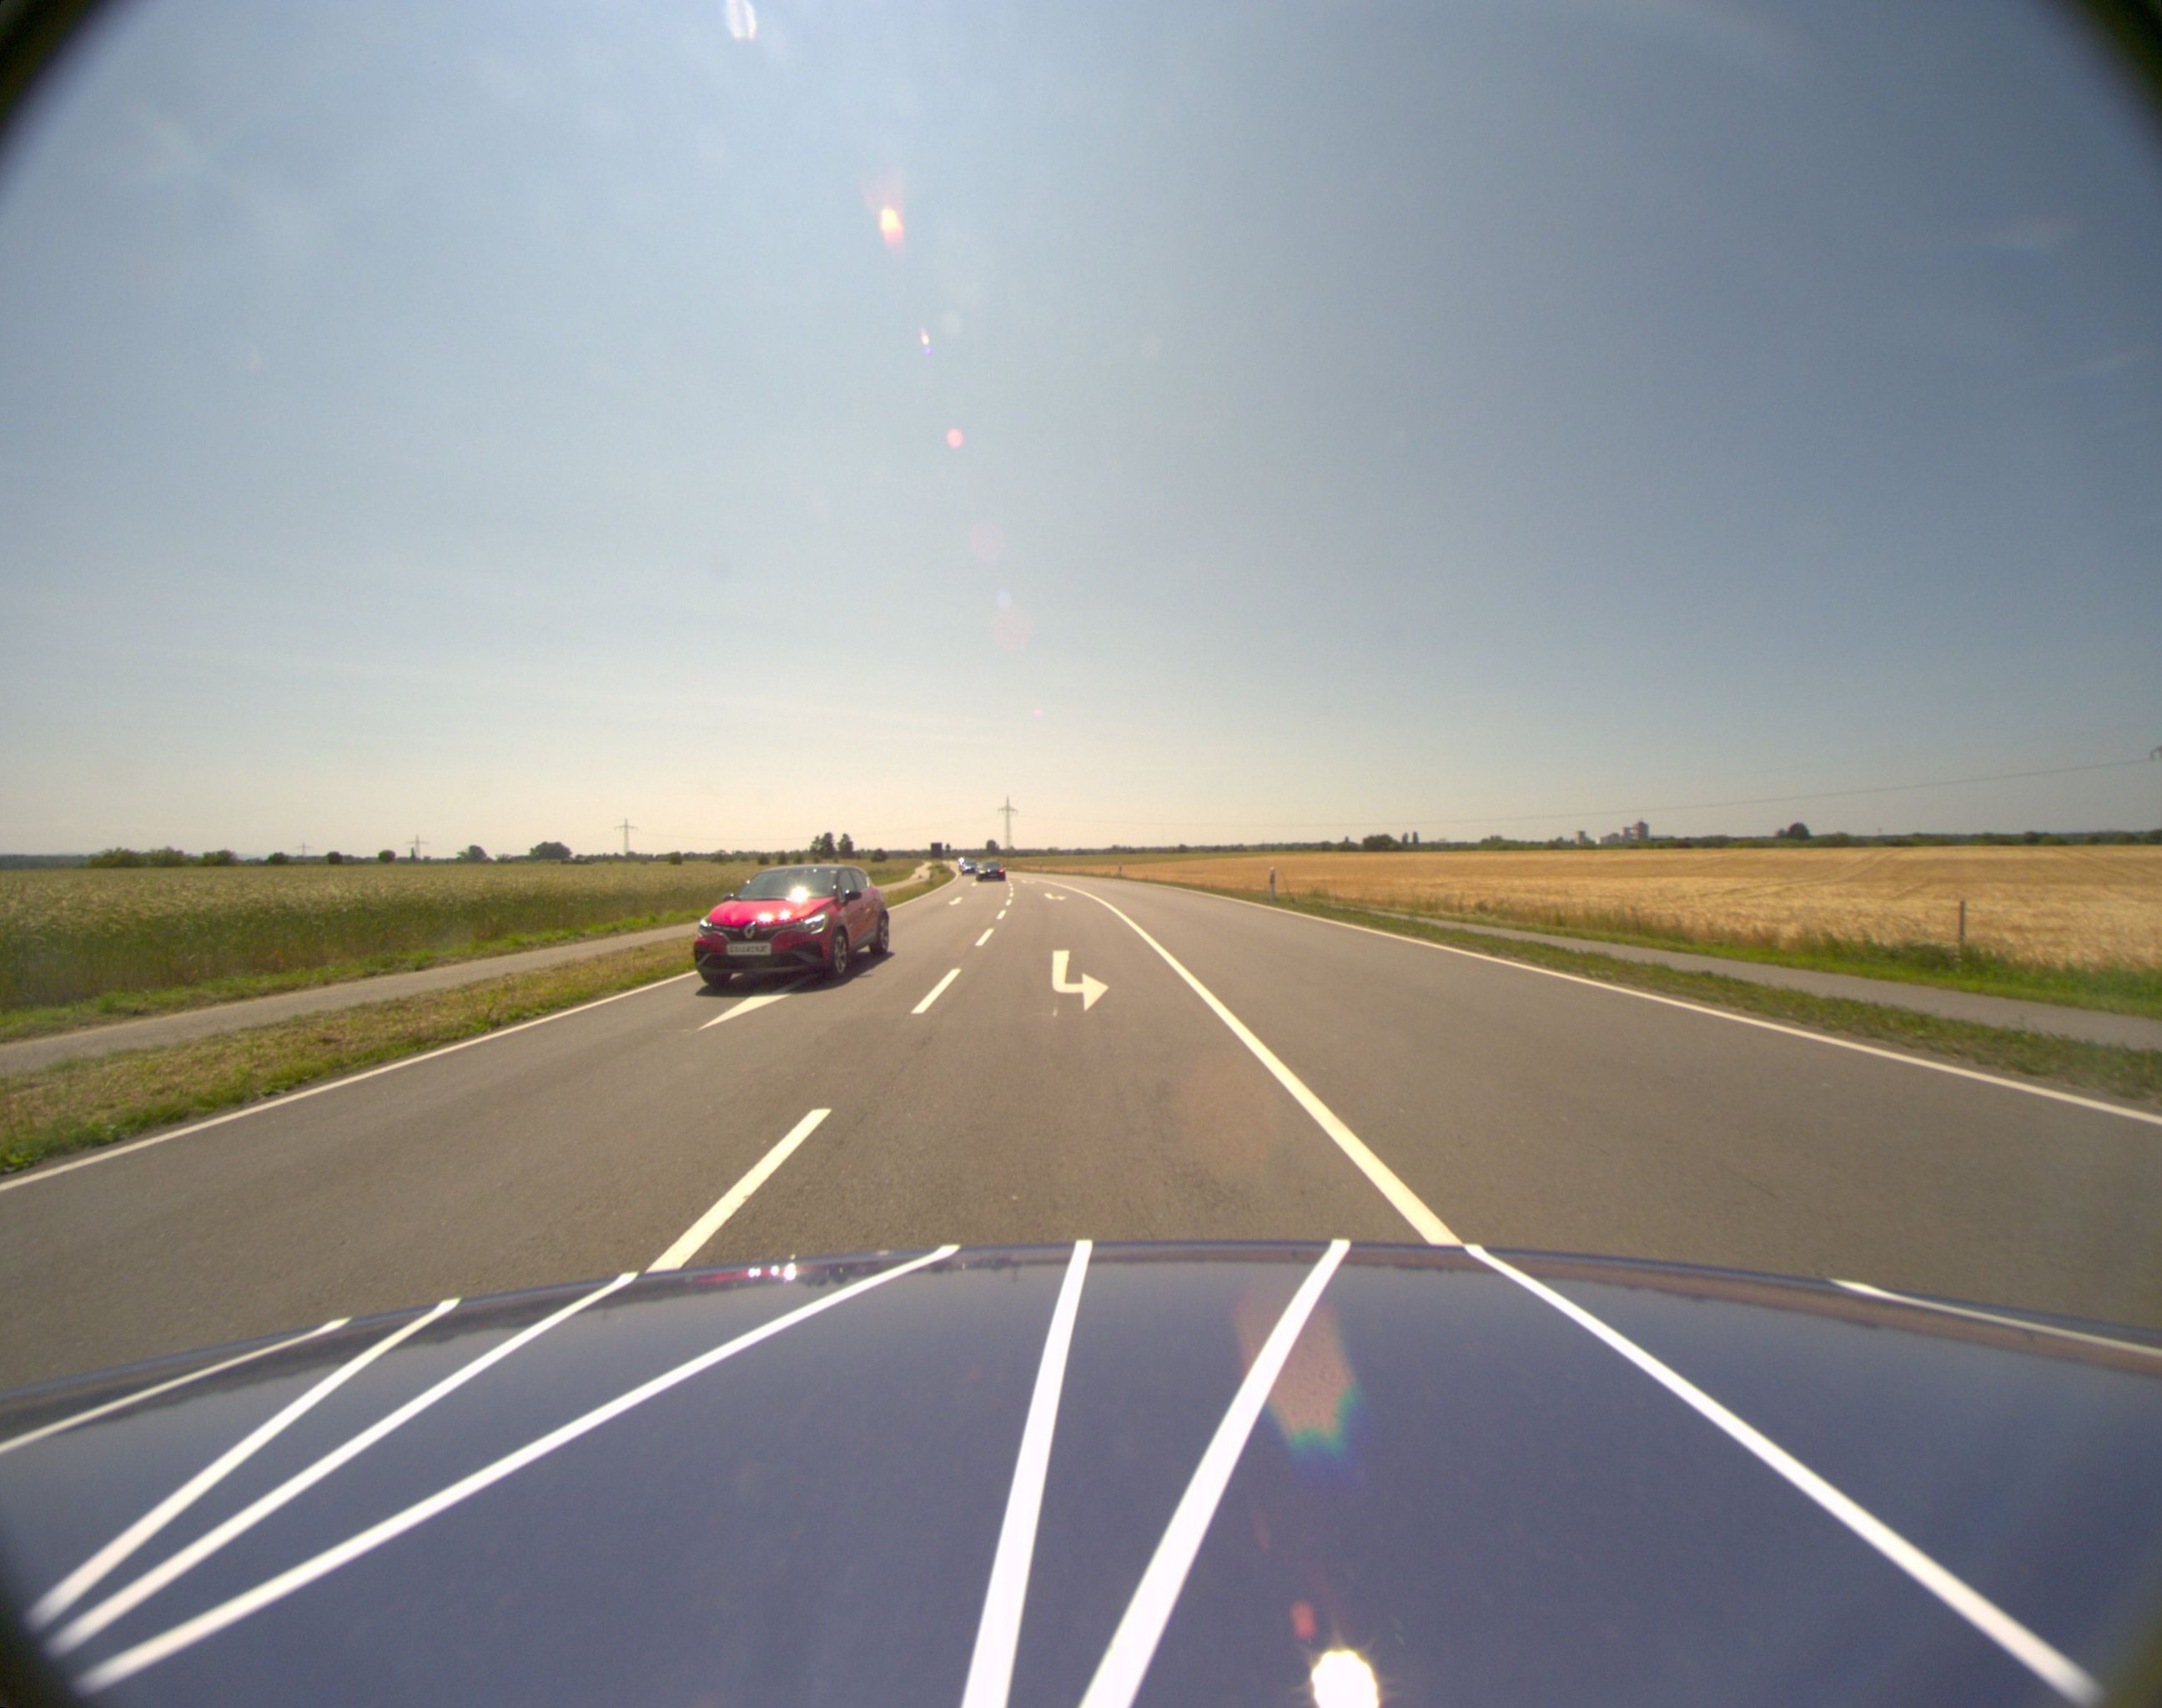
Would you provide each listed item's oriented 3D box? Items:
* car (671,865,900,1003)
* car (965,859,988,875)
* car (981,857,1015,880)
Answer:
[{"bbox_3d":[-4.180,1.024,11.628,1.827,1.543,4.448,-2,0,-2],"label":"car"},{"bbox_3d":[-10.789,1.316,78.613,2.191,1.458,5.010,-2,0,-8],"label":"car"},{"bbox_3d":[-6.121,1.030,55.417,2.191,1.458,5.009,-2,0,-9],"label":"car"}]
